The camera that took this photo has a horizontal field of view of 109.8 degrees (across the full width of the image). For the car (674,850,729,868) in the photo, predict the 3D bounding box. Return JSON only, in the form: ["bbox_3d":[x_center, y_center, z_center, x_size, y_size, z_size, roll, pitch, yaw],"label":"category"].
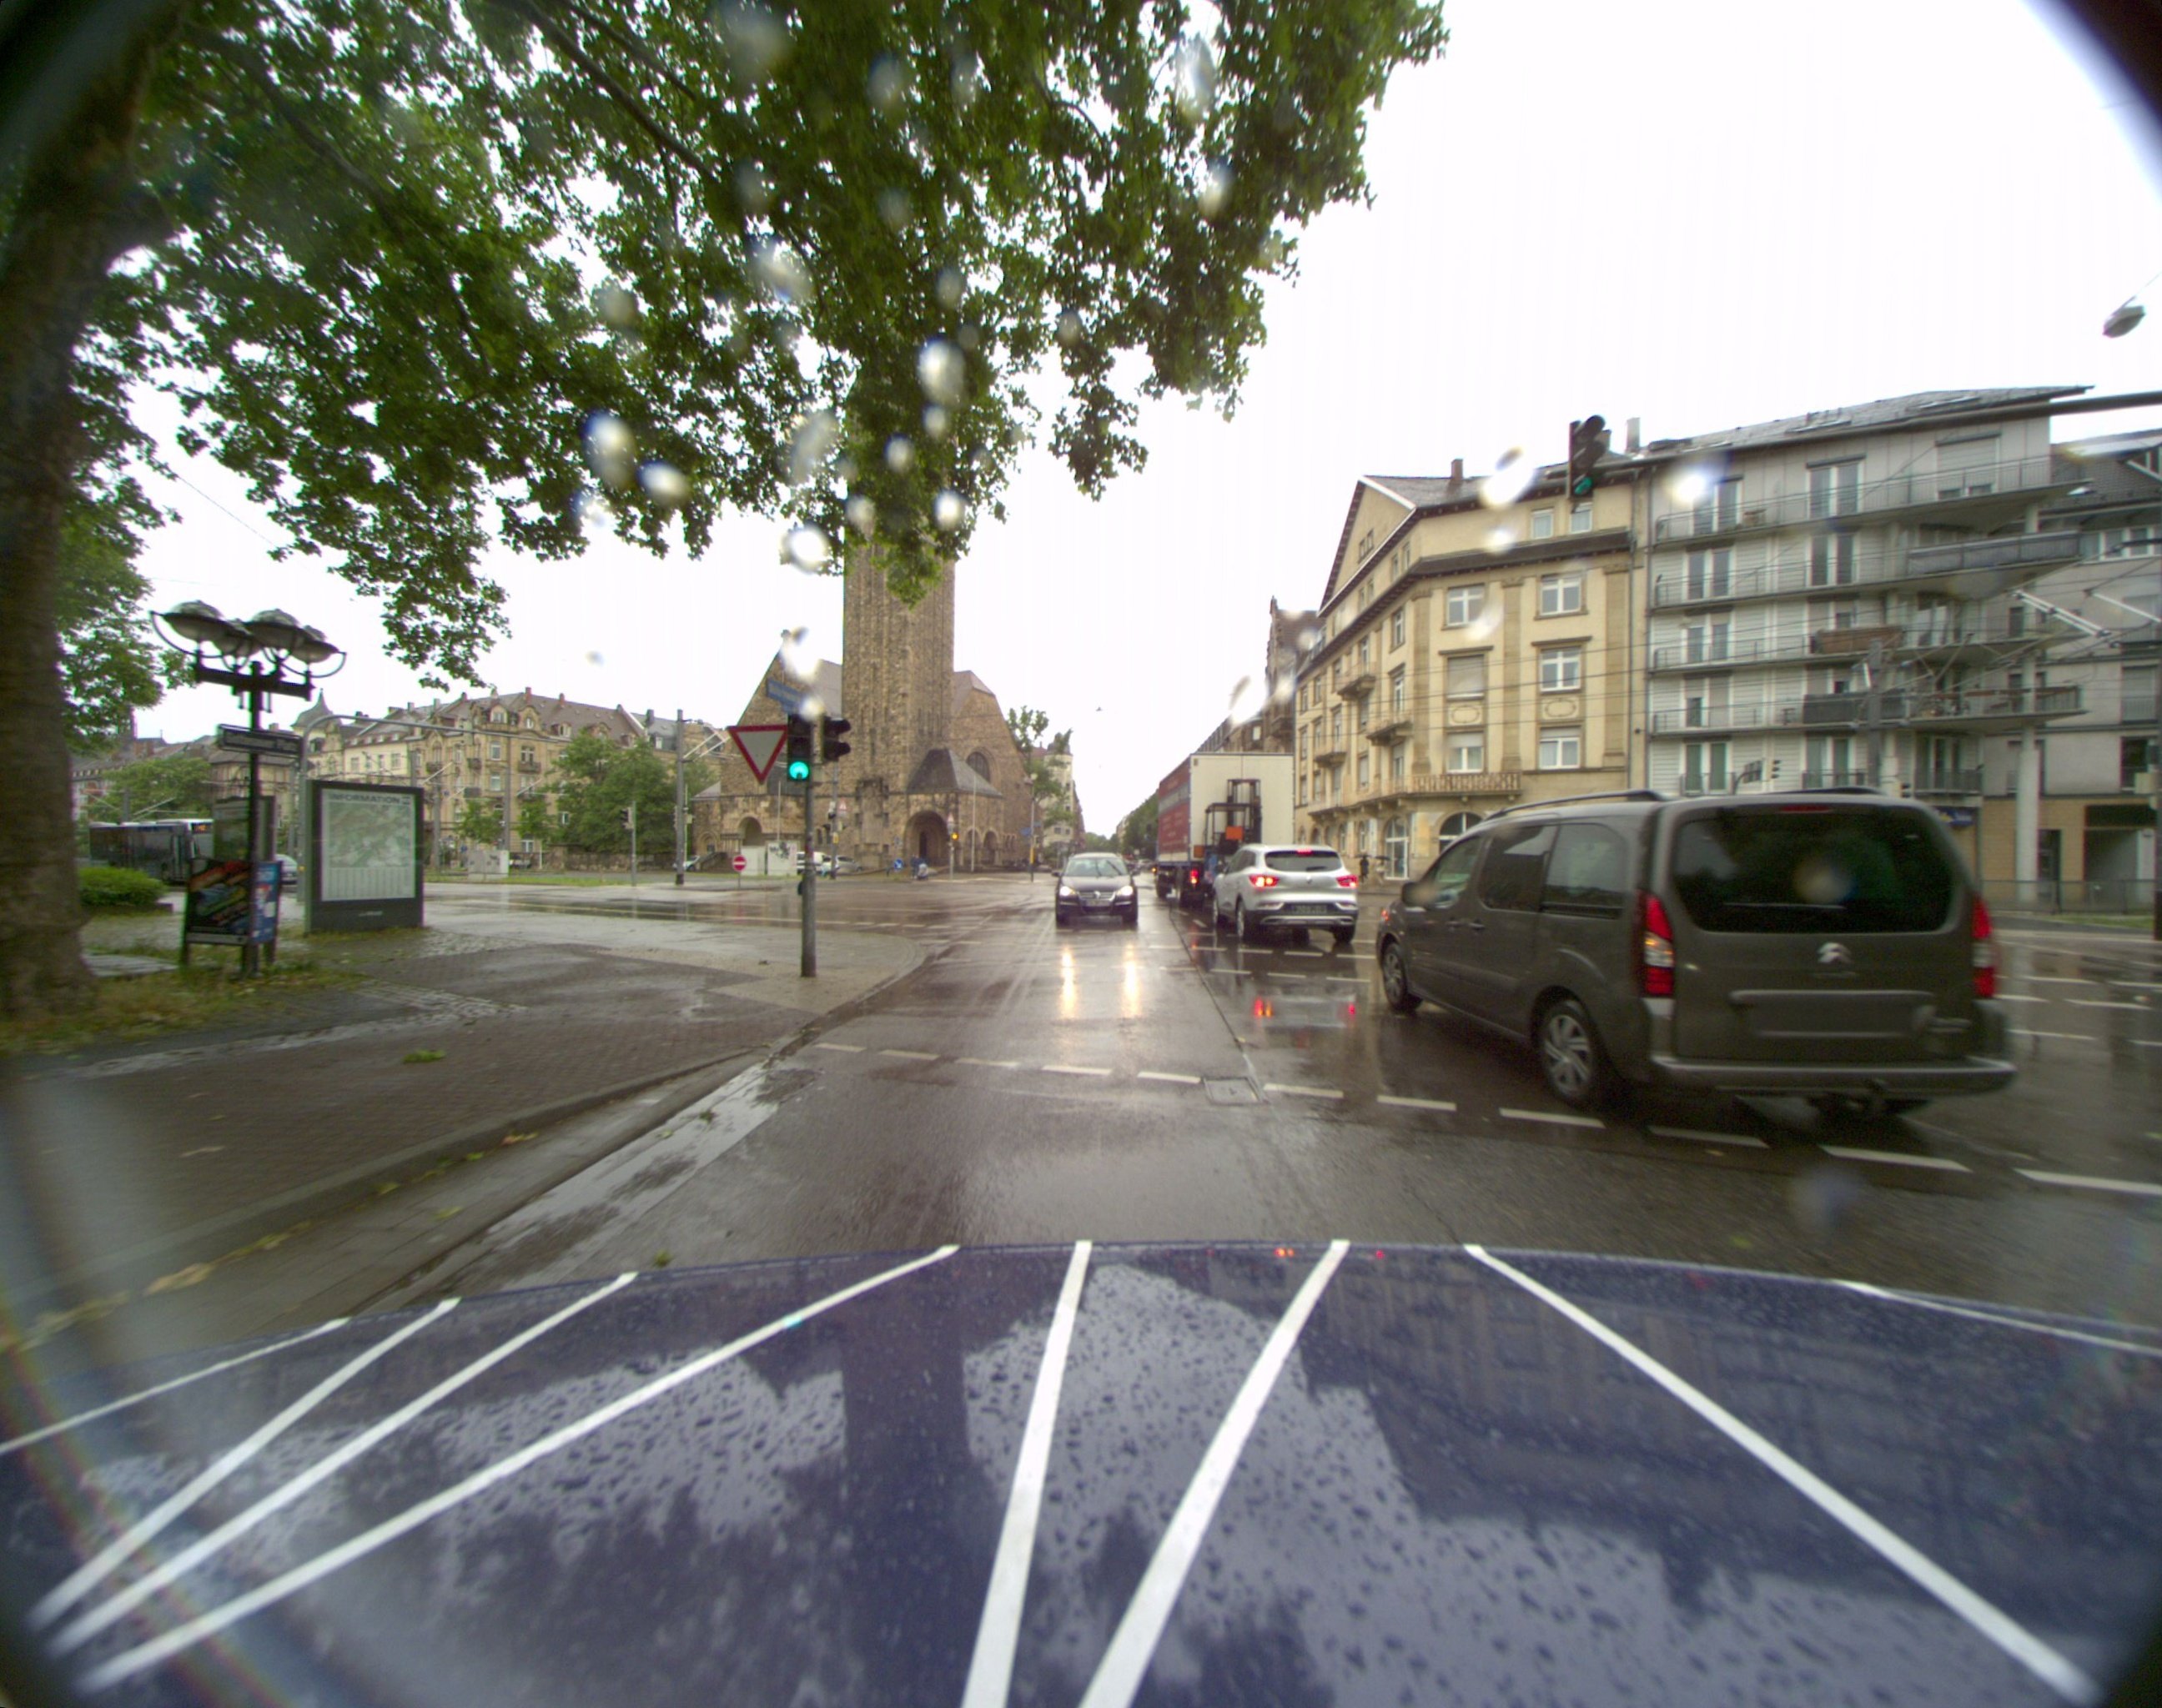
[{"bbox_3d":[-34.119,0.420,68.441,1.995,1.608,4.007,1,0,26],"label":"car"}]

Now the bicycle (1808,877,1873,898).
[{"bbox_3d":[33.329,1.474,33.388,1.922,0.861,0.582,1,0,27],"label":"bicycle"}]

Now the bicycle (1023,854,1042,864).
[{"bbox_3d":[-5.321,0.503,83.821,1.977,1.060,0.607,1,0,24],"label":"bicycle"}]

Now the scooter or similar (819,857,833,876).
[{"bbox_3d":[-18.492,0.881,55.085,1.101,1.379,0.287,1,0,24],"label":"scooter or similar"}]

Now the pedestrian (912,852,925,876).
[{"bbox_3d":[-11.831,0.736,55.300,0.632,1.693,0.679,1,0,22],"label":"pedestrian"}]

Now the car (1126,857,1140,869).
[{"bbox_3d":[7.230,1.235,105.797,1.747,1.537,3.781,1,0,7],"label":"car"}]

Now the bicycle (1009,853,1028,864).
[{"bbox_3d":[-6.686,0.482,81.354,1.923,1.054,0.582,1,0,23],"label":"bicycle"}]

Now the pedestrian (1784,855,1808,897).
[{"bbox_3d":[30.701,0.937,32.632,0.610,1.770,0.500,1,0,26],"label":"pedestrian"}]

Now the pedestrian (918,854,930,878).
[{"bbox_3d":[-10.591,0.801,51.312,0.604,1.653,0.689,1,0,5],"label":"pedestrian"}]

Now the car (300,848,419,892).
[{"bbox_3d":[-28.358,0.590,29.853,4.543,1.590,1.795,0,0,24],"label":"car"}]

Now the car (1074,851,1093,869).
[{"bbox_3d":[0.337,0.703,84.861,1.909,1.911,5.273,1,0,1],"label":"car"}]

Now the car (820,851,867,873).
[{"bbox_3d":[-19.170,0.637,61.474,1.732,1.565,3.363,1,3,28],"label":"car"}]

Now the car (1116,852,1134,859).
[{"bbox_3d":[10.629,0.433,183.656,3.809,1.705,1.995,1,0,-32],"label":"car"}]

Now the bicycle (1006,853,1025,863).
[{"bbox_3d":[-6.987,0.458,80.733,1.923,1.054,0.582,1,0,20],"label":"bicycle"}]

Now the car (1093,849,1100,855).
[{"bbox_3d":[5.285,-0.736,259.148,1.837,1.827,4.002,1,0,5],"label":"car"}]

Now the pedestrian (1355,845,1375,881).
[{"bbox_3d":[15.791,0.515,42.255,0.920,1.955,0.700,0,3,8],"label":"pedestrian"}]

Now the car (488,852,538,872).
[{"bbox_3d":[-53.216,0.699,71.161,3.990,1.783,1.983,1,0,22],"label":"car"}]

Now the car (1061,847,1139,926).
[{"bbox_3d":[0.436,0.662,17.368,1.547,1.553,4.071,1,0,1],"label":"car"}]

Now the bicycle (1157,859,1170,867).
[{"bbox_3d":[11.578,1.206,106.615,1.687,1.067,0.545,-2,1,-2],"label":"bicycle"}]

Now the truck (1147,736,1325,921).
[{"bbox_3d":[3.853,-0.552,21.838,2.853,4.002,10.315,1,0,0],"label":"truck"}]

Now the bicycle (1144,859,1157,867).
[{"bbox_3d":[9.722,1.236,106.657,1.687,1.067,0.545,-2,1,-2],"label":"bicycle"}]

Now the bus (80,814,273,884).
[{"bbox_3d":[-44.651,-0.253,37.385,12.071,3.095,2.899,0,0,24],"label":"bus"}]

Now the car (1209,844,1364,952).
[{"bbox_3d":[3.389,0.647,13.291,1.746,1.594,4.000,0,0,2],"label":"car"}]

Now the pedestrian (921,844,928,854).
[{"bbox_3d":[-13.762,-0.423,66.621,0.395,0.879,0.457,1,0,24],"label":"pedestrian"}]

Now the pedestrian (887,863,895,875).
[{"bbox_3d":[-14.281,1.106,57.197,0.455,0.879,0.397,1,0,22],"label":"pedestrian"}]

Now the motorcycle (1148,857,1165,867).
[{"bbox_3d":[10.402,1.136,104.714,2.255,1.302,0.758,-1,0,1],"label":"motorcycle"}]

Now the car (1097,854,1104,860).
[{"bbox_3d":[6.452,0.933,250.538,1.998,1.705,4.376,1,0,5],"label":"car"}]

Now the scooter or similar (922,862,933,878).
[{"bbox_3d":[-10.272,1.060,50.841,0.514,1.042,0.924,1,0,4],"label":"scooter or similar"}]

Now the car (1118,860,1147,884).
[{"bbox_3d":[3.360,1.151,50.193,1.766,1.430,3.748,1,0,1],"label":"car"}]

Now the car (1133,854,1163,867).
[{"bbox_3d":[10.184,1.016,114.818,4.006,1.804,1.996,1,0,-25],"label":"car"}]

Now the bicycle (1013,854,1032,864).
[{"bbox_3d":[-6.306,0.519,82.115,1.923,1.054,0.582,1,0,23],"label":"bicycle"}]

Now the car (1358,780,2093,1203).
[{"bbox_3d":[3.580,0.599,5.412,1.811,1.851,4.110,0,0,2],"label":"car"}]

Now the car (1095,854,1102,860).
[{"bbox_3d":[5.477,0.849,236.107,1.998,1.705,4.376,1,0,5],"label":"car"}]

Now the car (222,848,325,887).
[{"bbox_3d":[-34.693,0.563,32.631,4.168,1.590,1.782,0,0,24],"label":"car"}]

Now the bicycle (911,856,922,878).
[{"bbox_3d":[-11.140,0.854,51.433,0.533,1.458,1.939,1,0,-8],"label":"bicycle"}]

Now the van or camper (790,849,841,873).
[{"bbox_3d":[-22.035,0.519,63.123,1.644,1.719,3.935,1,4,25],"label":"van or camper"}]
